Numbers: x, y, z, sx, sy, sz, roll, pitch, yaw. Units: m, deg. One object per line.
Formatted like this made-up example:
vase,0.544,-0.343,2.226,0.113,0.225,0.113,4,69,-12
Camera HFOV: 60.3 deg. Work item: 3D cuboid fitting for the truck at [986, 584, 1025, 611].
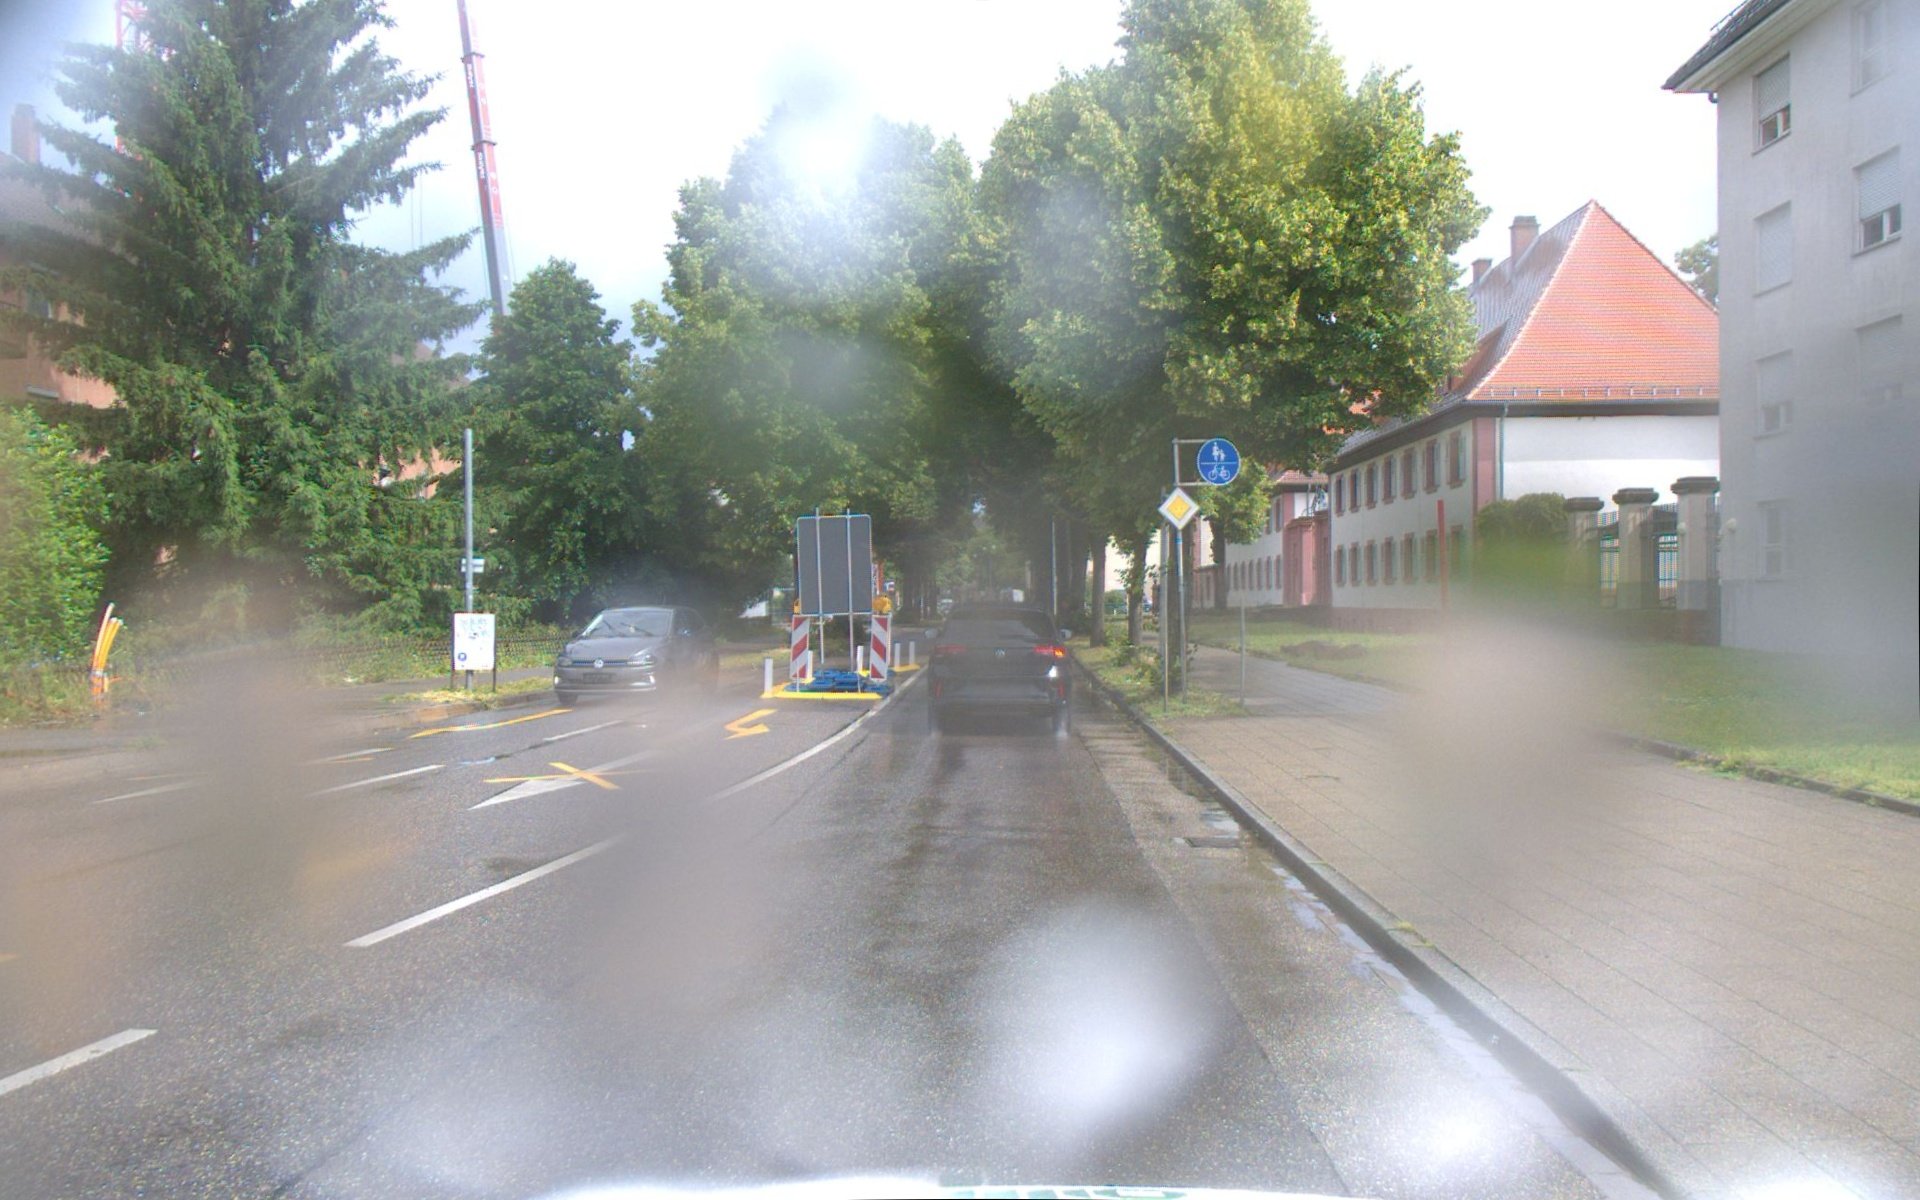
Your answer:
truck,4.750,-0.300,173.838,2.753,2.703,8.224,0,1,-9

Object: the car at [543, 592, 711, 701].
car,-5.074,0.667,25.692,1.645,1.534,3.795,-1,0,3

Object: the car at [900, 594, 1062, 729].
car,0.316,0.713,20.986,1.855,1.549,4.001,0,0,2

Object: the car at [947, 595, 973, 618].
car,0.043,0.509,129.634,1.847,1.743,4.230,-1,0,2
